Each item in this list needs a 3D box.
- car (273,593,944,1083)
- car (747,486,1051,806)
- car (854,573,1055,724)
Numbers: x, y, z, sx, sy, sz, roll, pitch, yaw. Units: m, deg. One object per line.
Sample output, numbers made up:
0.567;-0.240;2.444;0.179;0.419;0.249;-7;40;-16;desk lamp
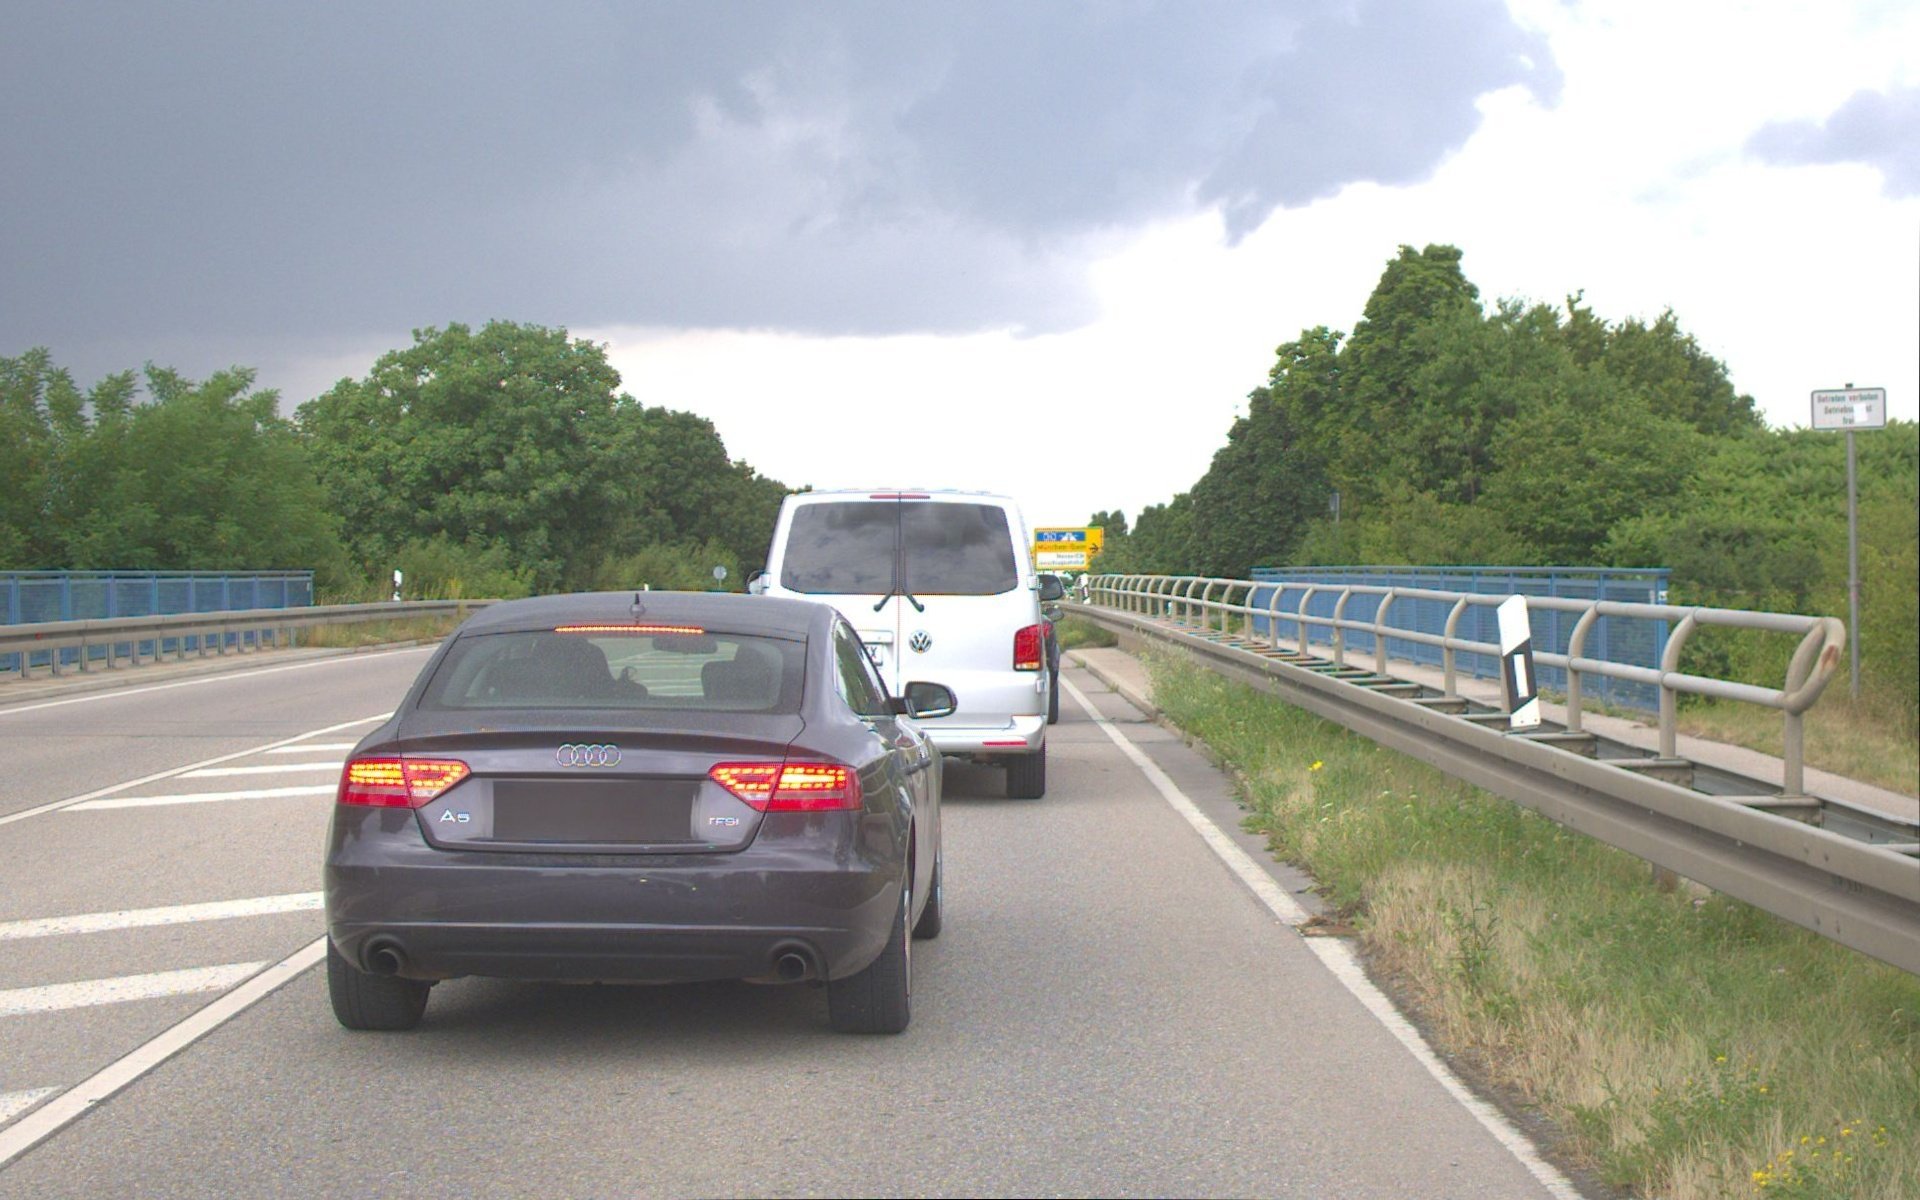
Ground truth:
-1.018;0.681;11.892;1.821;1.376;4.072;0;0;1;car
-0.373;0.265;22.817;1.828;1.929;4.000;0;0;0;car
-0.011;0.425;33.317;1.821;1.376;4.072;0;0;1;car
